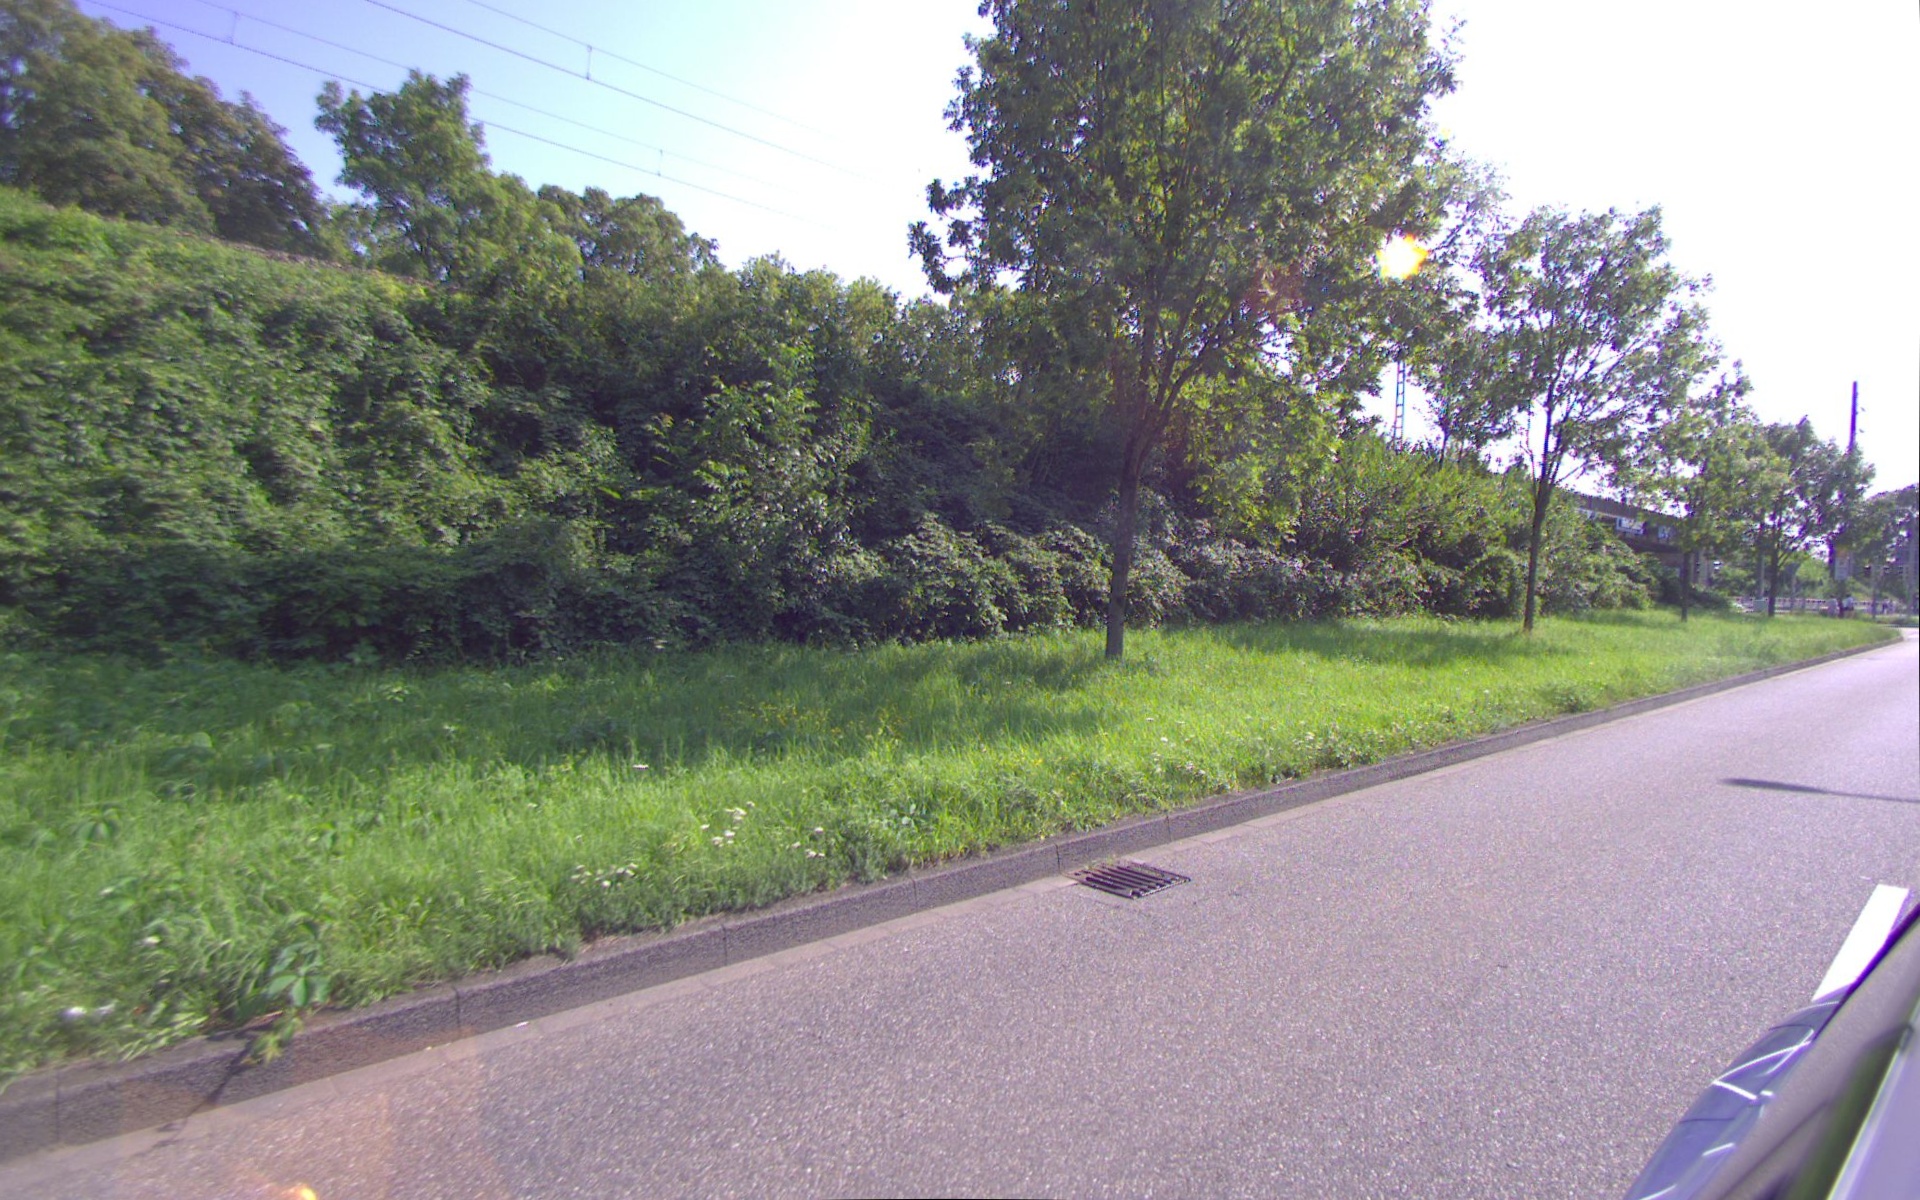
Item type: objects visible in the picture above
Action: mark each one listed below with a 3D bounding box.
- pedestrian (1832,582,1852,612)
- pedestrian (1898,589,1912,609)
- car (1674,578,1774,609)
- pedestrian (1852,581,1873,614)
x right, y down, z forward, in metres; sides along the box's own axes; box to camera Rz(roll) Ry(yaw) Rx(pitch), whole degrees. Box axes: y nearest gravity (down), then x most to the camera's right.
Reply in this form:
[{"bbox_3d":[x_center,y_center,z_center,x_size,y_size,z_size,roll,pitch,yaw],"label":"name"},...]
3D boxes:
[{"bbox_3d":[46.141,-0.169,52.931,0.562,1.586,0.535,0,1,7],"label":"pedestrian"},{"bbox_3d":[76.627,-0.106,82.096,0.624,1.594,0.489,1,1,6],"label":"pedestrian"},{"bbox_3d":[42.989,-0.394,57.053,1.831,1.552,4.204,1,2,-15],"label":"car"},{"bbox_3d":[46.649,-0.142,52.302,0.482,1.703,0.572,1,1,-10],"label":"pedestrian"}]
